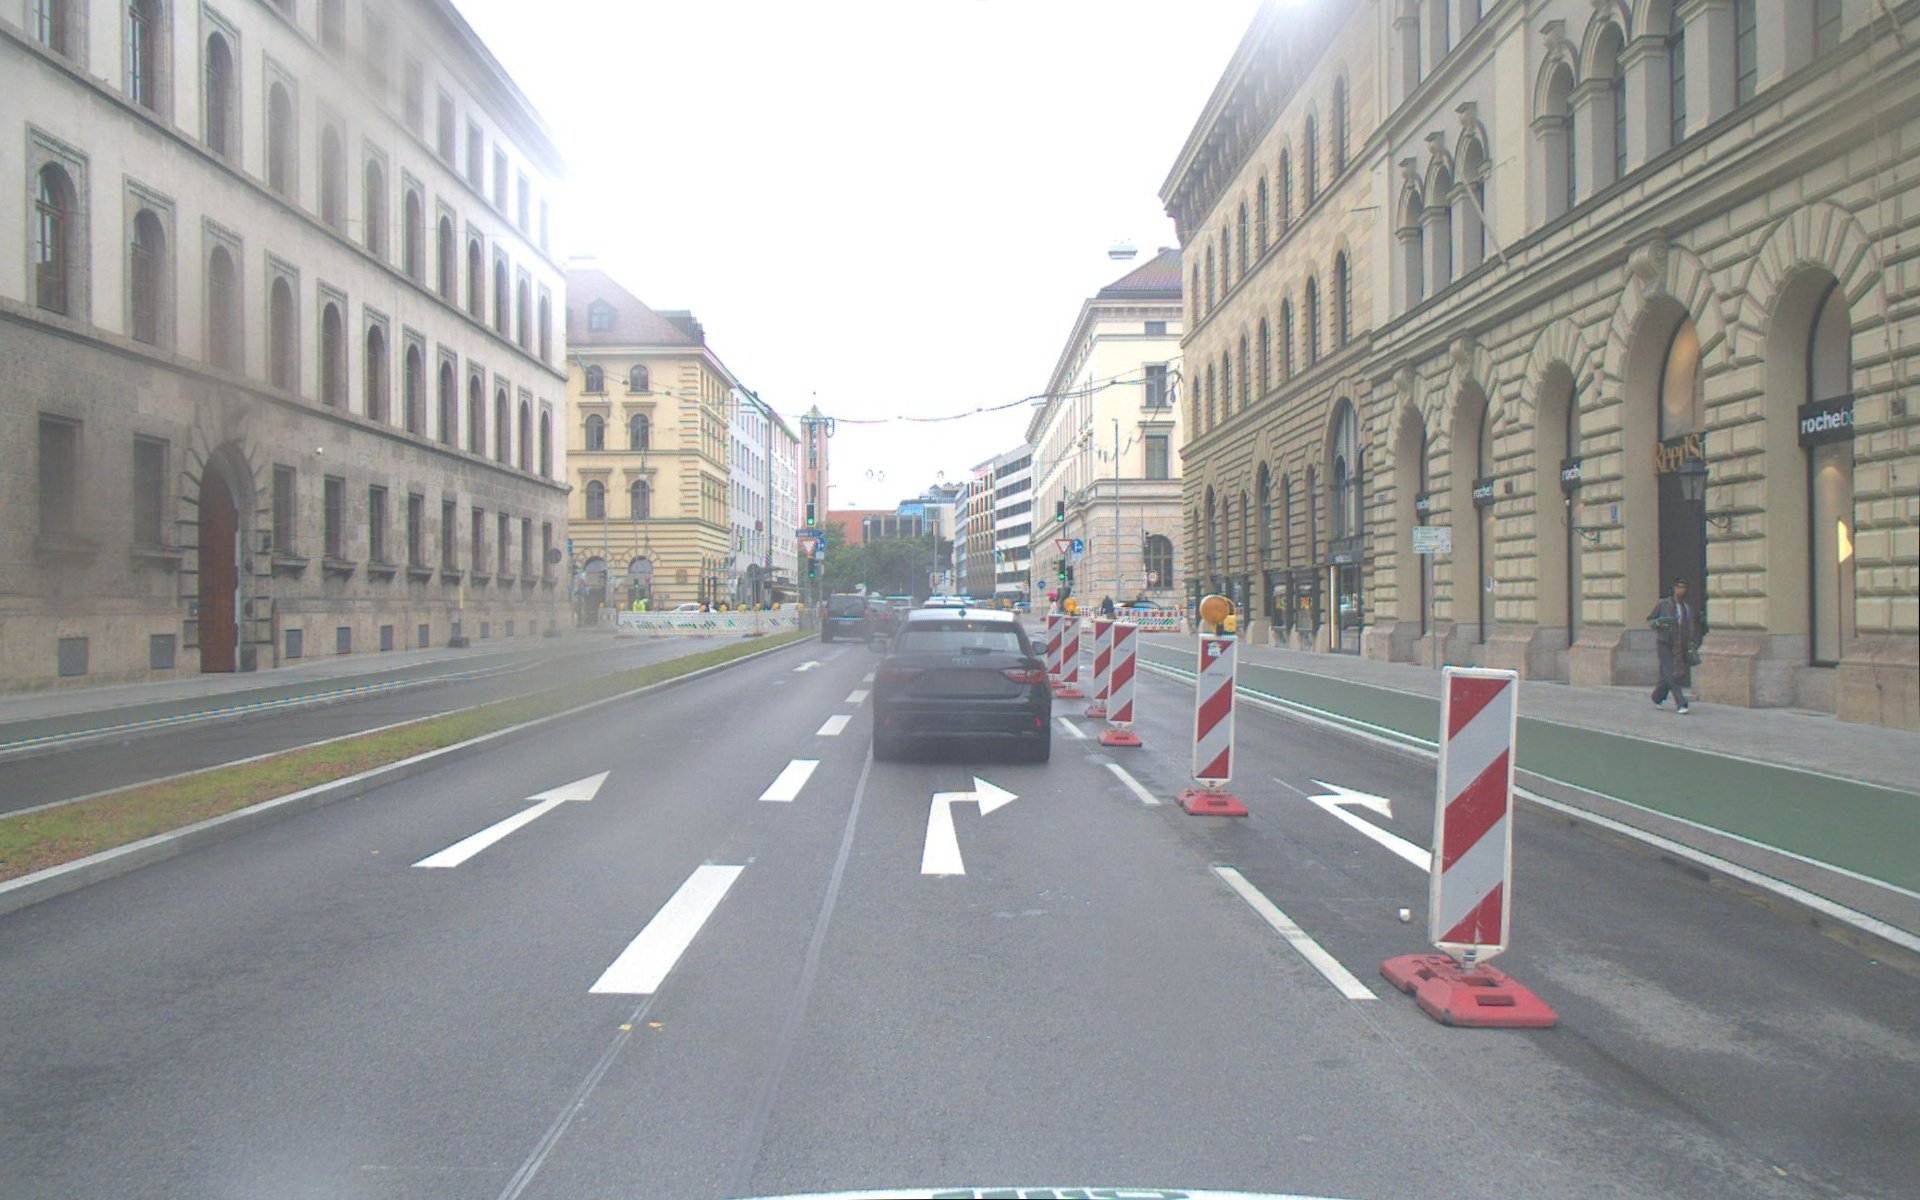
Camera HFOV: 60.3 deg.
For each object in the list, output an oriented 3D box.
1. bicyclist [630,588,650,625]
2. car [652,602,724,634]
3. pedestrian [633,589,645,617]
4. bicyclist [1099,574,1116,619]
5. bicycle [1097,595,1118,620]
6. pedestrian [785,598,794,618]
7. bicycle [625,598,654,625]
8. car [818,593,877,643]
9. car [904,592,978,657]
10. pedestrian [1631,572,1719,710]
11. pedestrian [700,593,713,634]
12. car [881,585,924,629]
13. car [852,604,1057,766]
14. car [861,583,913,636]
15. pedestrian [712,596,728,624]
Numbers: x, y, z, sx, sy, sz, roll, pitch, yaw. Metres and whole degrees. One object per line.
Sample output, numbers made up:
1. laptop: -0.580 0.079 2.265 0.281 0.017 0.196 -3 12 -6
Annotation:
1. bicyclist: -15.451 0.329 79.903 0.781 1.779 0.689 1 0 3
2. car: -15.804 1.026 96.174 3.703 1.830 1.848 0 0 -31
3. pedestrian: -20.406 0.197 105.114 0.720 1.803 0.737 1 0 -11
4. bicyclist: 6.216 -0.132 69.773 0.555 1.886 0.798 1 0 -5
5. bicycle: 6.209 0.310 69.778 0.573 1.029 1.654 1 0 -6
6. pedestrian: -15.534 0.701 151.022 0.722 1.803 0.736 1 0 -1
7. bicycle: -15.458 0.558 79.922 0.770 1.264 2.450 1 0 3
8. car: -3.803 0.596 56.325 1.827 1.629 3.850 0 0 -1
9. car: -0.548 0.622 44.176 1.734 1.645 3.997 1 0 -4
10. pedestrian: 9.253 0.517 21.438 0.619 1.734 1.085 -1 0 -2
11. pedestrian: -11.072 0.569 72.259 0.503 1.773 1.041 0 0 -10
12. car: -2.740 0.331 79.971 1.953 2.049 3.999 -1 0 -1
13. car: -0.081 0.771 16.815 1.825 1.412 3.999 1 0 -1
14. car: -2.865 0.350 65.725 1.953 2.049 3.999 0 0 -1
15. pedestrian: -15.423 0.628 106.269 0.718 1.803 0.739 1 0 20
